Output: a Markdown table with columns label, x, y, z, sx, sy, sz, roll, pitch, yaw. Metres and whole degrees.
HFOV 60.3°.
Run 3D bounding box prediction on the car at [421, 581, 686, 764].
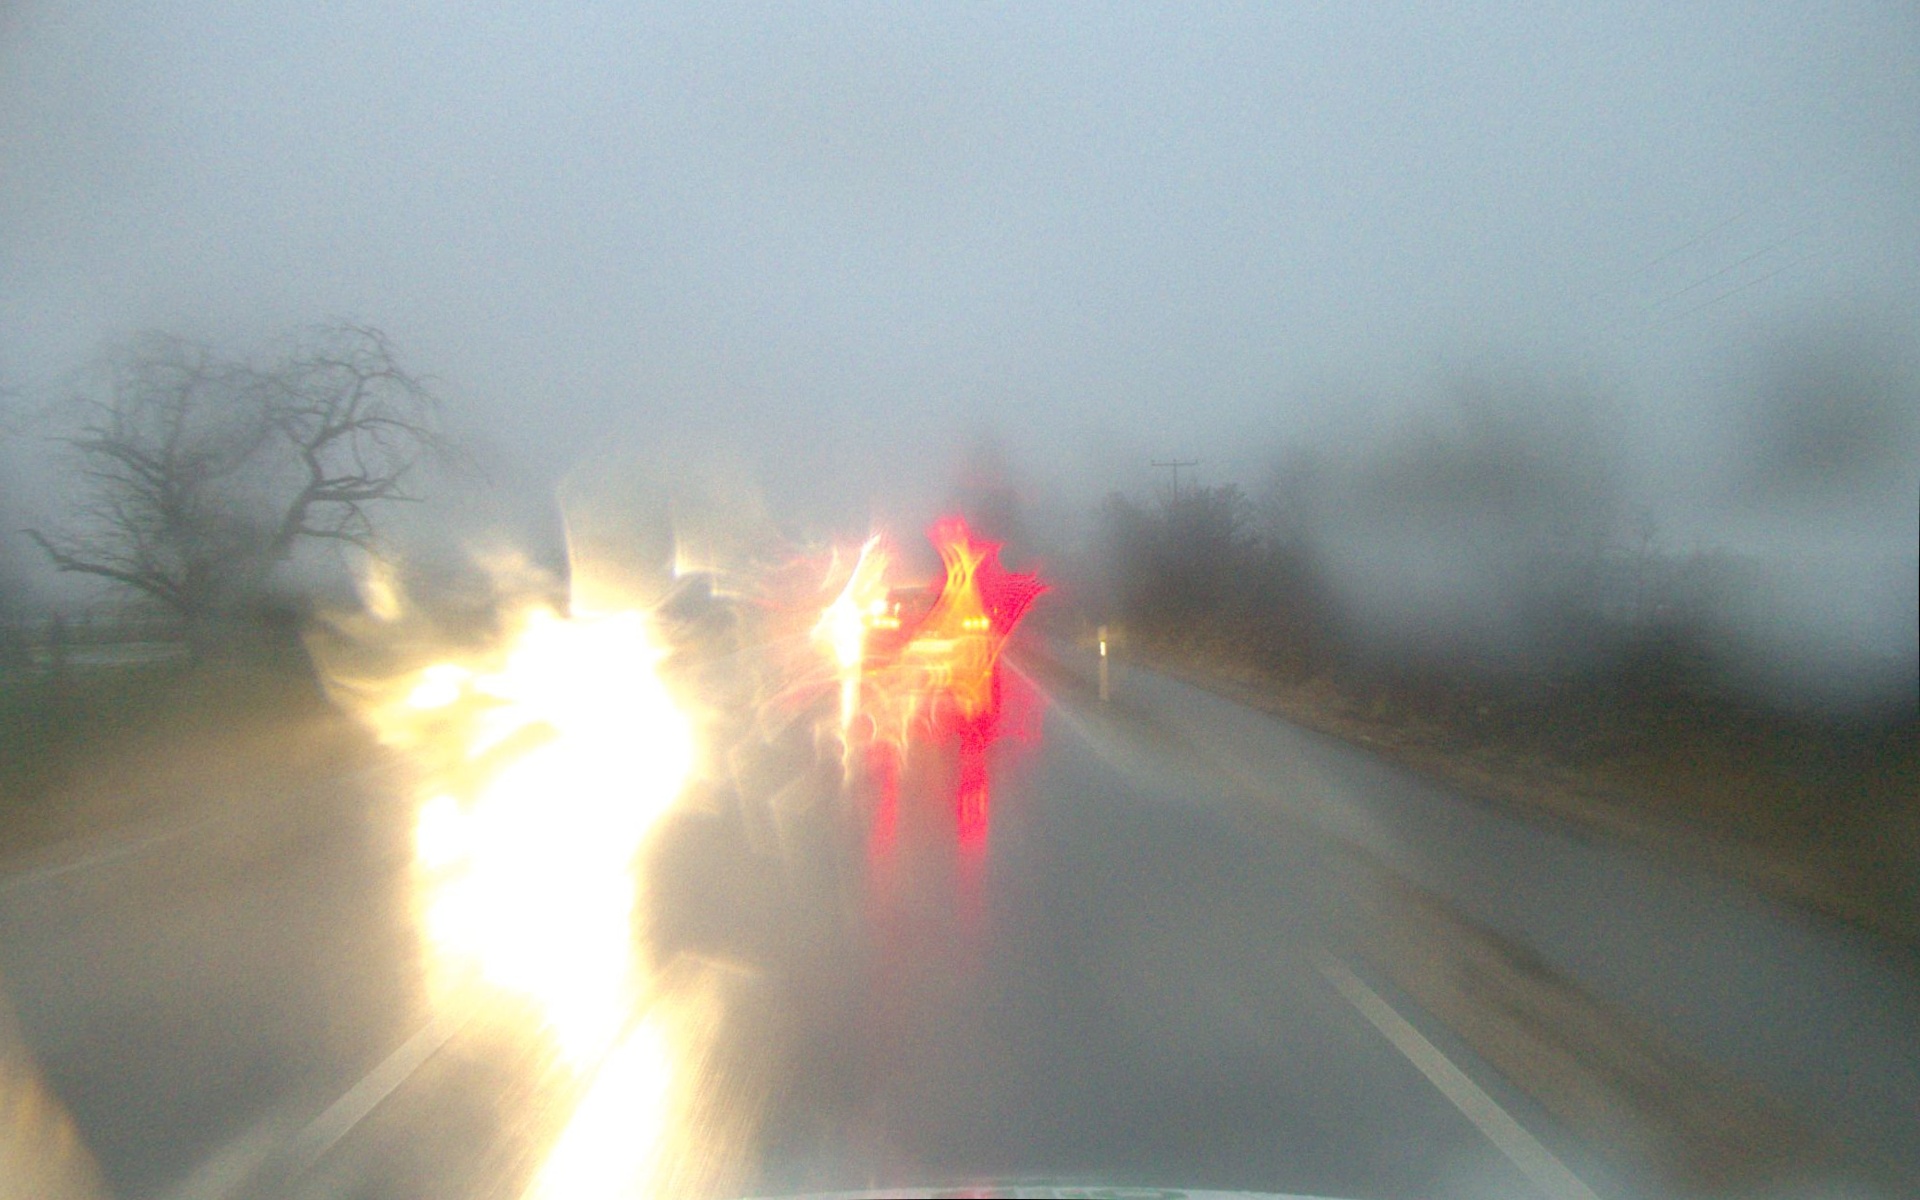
| label | x | y | z | sx | sy | sz | roll | pitch | yaw |
| --- | --- | --- | --- | --- | --- | --- | --- | --- | --- |
| car | -3.968 | 0.621 | 16.800 | 1.726 | 1.582 | 3.999 | -2 | 1 | -1 |

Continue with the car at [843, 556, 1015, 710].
| label | x | y | z | sx | sy | sz | roll | pitch | yaw |
| --- | --- | --- | --- | --- | --- | --- | --- | --- | --- |
| car | -0.399 | 0.383 | 22.491 | 2.077 | 1.851 | 4.979 | 0 | 0 | -1 |

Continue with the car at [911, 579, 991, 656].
| label | x | y | z | sx | sy | sz | roll | pitch | yaw |
| --- | --- | --- | --- | --- | --- | --- | --- | --- | --- |
| car | -0.236 | 0.434 | 42.828 | 1.953 | 1.881 | 3.999 | 1 | 0 | -1 |

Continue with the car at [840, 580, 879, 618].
| label | x | y | z | sx | sy | sz | roll | pitch | yaw |
| --- | --- | --- | --- | --- | --- | --- | --- | --- | --- |
| car | -5.178 | -0.072 | 85.649 | 1.787 | 1.838 | 4.493 | -2 | 0 | -2 |
